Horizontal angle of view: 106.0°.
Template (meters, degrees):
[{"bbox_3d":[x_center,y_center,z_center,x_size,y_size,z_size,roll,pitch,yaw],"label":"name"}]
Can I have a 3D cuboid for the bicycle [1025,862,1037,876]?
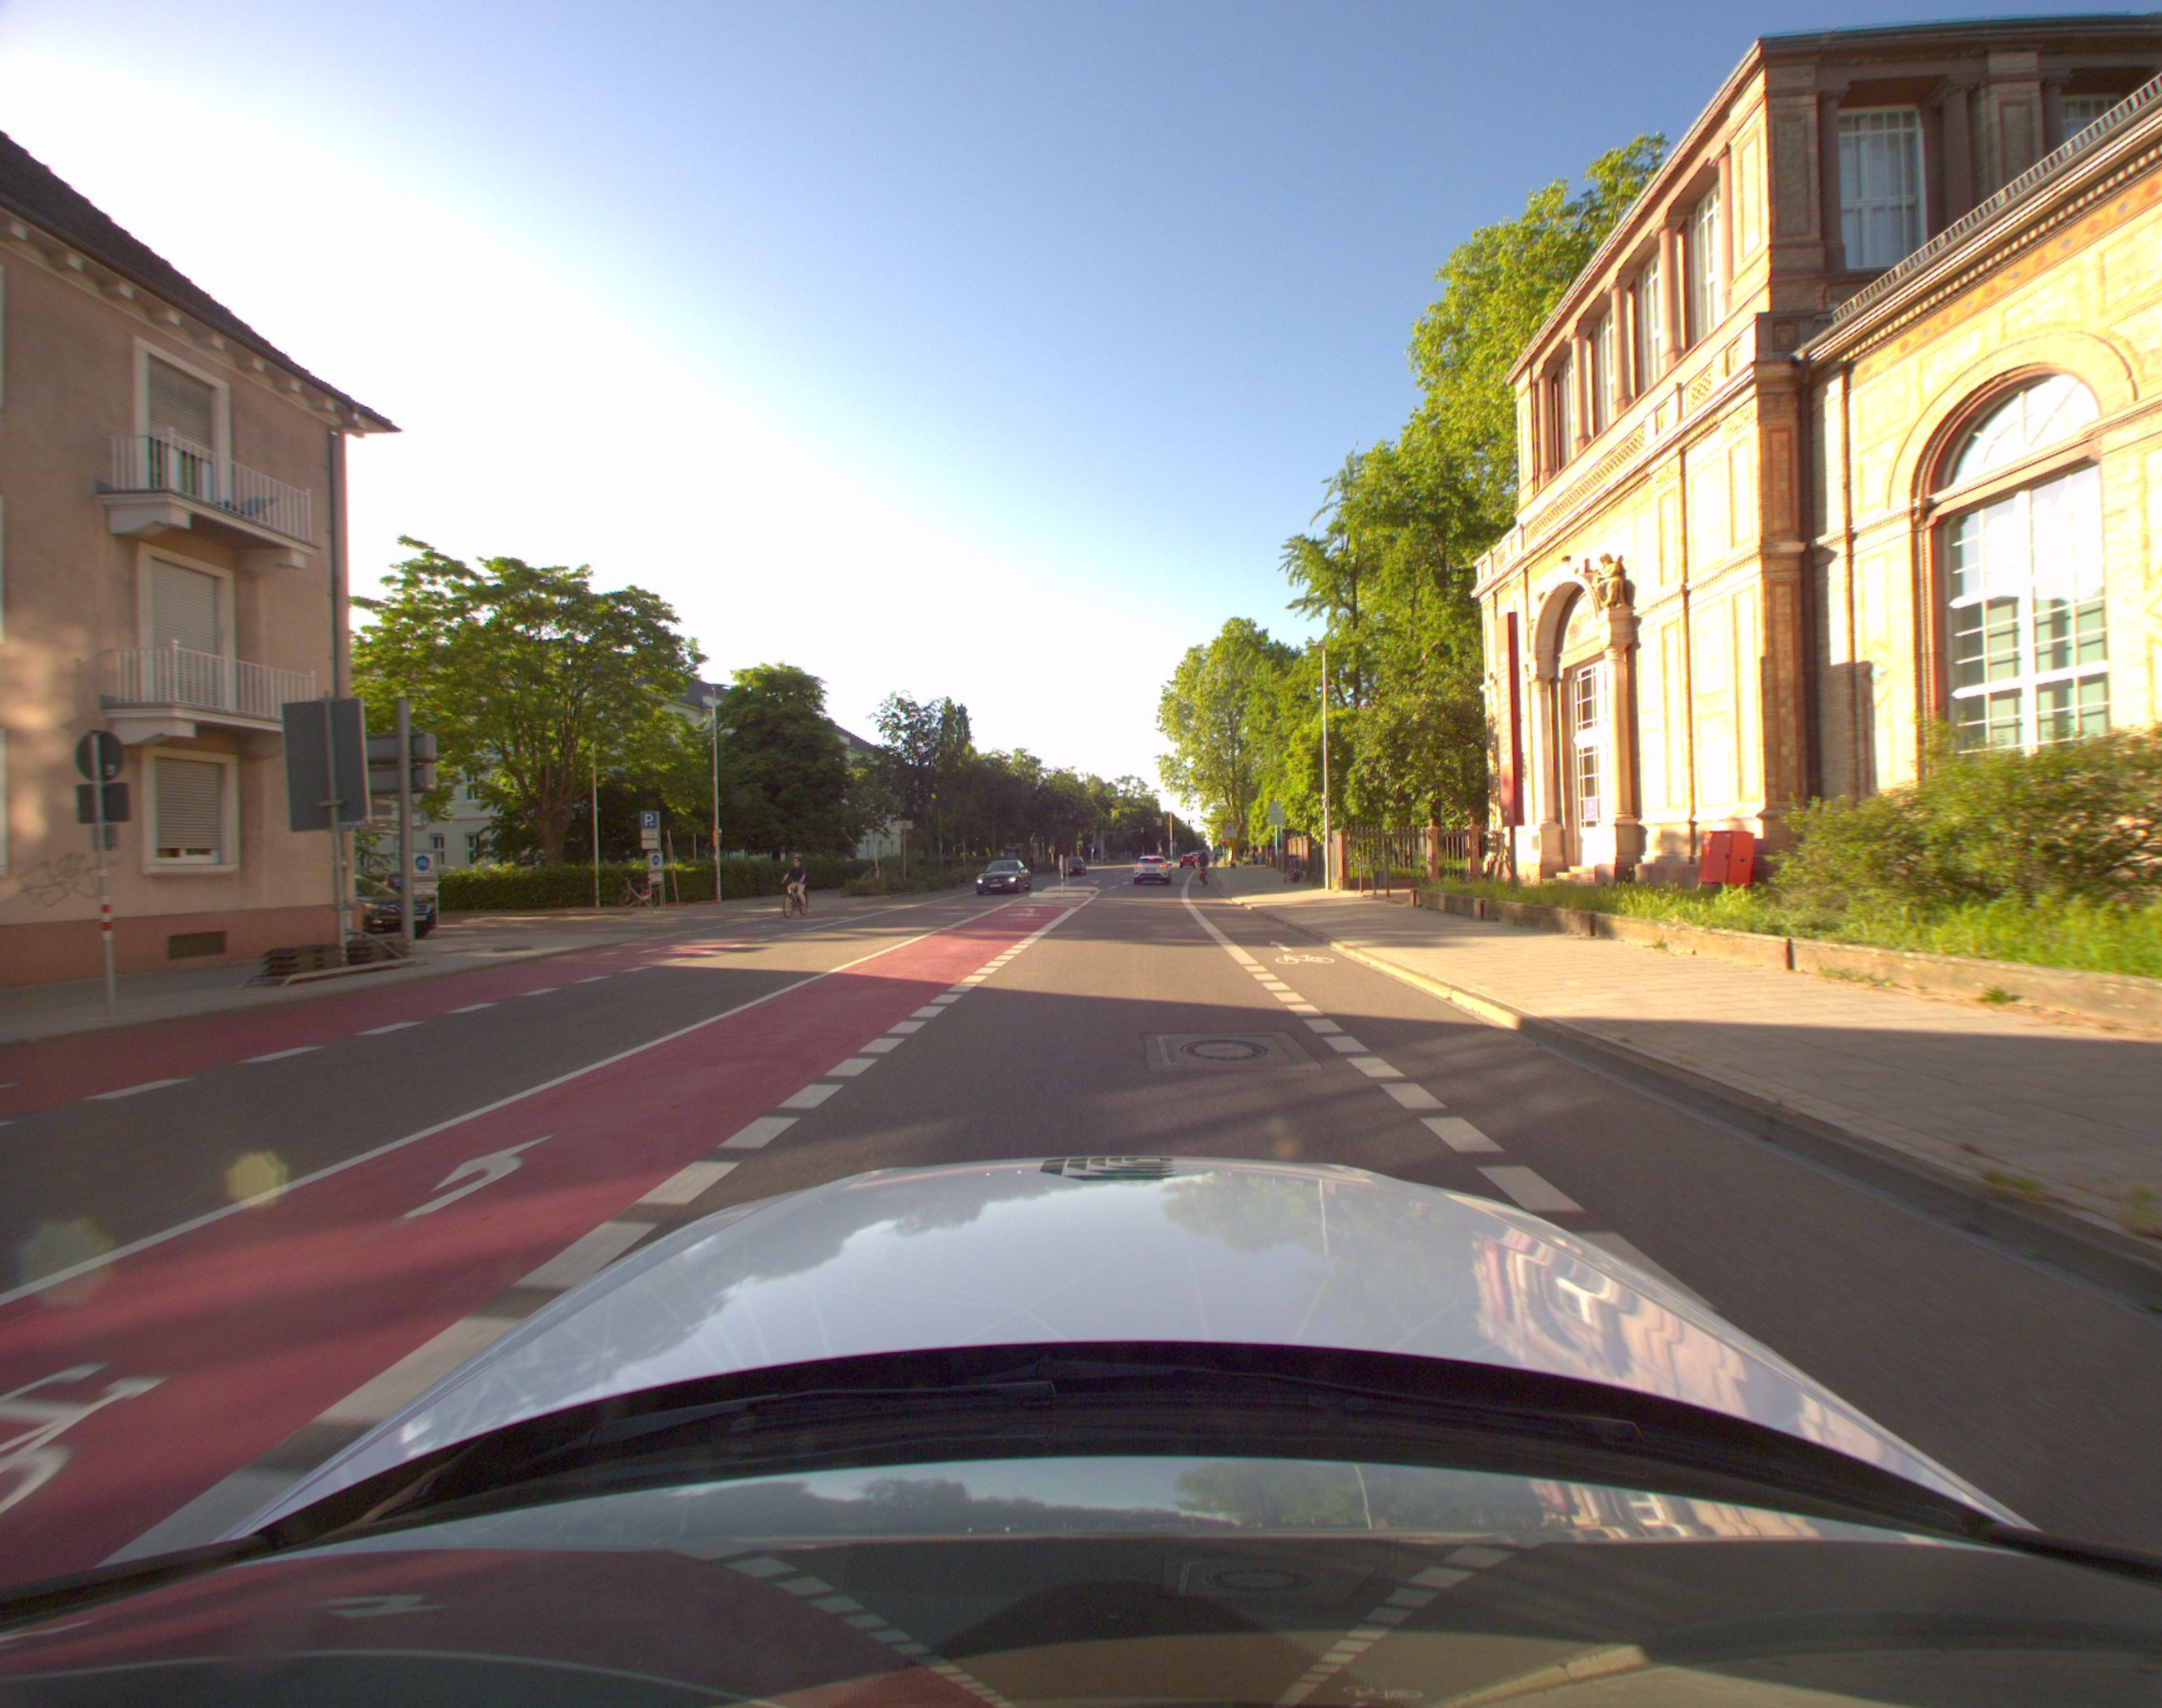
[{"bbox_3d":[-4.210,1.242,68.578,0.593,1.120,2.030,-5,-1,6],"label":"bicycle"}]

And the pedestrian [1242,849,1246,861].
[{"bbox_3d":[24.276,0.155,121.441,0.478,1.792,0.433,-5,2,15],"label":"pedestrian"}]

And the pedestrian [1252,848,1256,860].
[{"bbox_3d":[25.975,-0.011,122.107,0.478,1.792,0.433,-5,2,15],"label":"pedestrian"}]

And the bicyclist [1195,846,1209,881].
[{"bbox_3d":[5.854,0.450,39.296,0.632,1.614,1.287,-1,0,9],"label":"bicyclist"}]

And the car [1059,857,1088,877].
[{"bbox_3d":[-0.527,0.979,62.750,1.749,1.459,4.006,-2,0,6],"label":"car"}]

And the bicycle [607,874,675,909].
[{"bbox_3d":[-16.458,1.401,30.487,2.307,1.230,0.561,-2,0,7],"label":"bicycle"}]

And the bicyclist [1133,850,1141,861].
[{"bbox_3d":[9.566,0.239,138.535,1.085,1.754,1.101,-2,-1,11],"label":"bicyclist"}]

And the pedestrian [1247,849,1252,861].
[{"bbox_3d":[25.104,0.174,121.439,0.478,1.640,0.433,-5,2,15],"label":"pedestrian"}]

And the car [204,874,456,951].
[{"bbox_3d":[-18.806,1.433,20.540,4.554,1.678,2.063,-2,0,4],"label":"car"}]

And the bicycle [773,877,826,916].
[{"bbox_3d":[-8.057,1.195,23.407,0.648,0.995,2.111,-3,0,3],"label":"bicycle"}]

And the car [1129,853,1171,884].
[{"bbox_3d":[3.675,0.727,42.957,1.983,1.453,4.008,-2,0,7],"label":"car"}]

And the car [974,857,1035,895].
[{"bbox_3d":[-3.230,0.911,35.276,1.803,1.419,4.561,-2,0,5],"label":"car"}]

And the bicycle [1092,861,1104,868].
[{"bbox_3d":[2.752,1.632,130.008,1.752,0.990,0.514,-2,0,16],"label":"bicycle"}]

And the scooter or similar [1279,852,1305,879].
[{"bbox_3d":[10.002,0.552,38.646,0.547,1.243,1.553,-2,0,-8],"label":"scooter or similar"}]

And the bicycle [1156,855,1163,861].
[{"bbox_3d":[15.970,0.869,165.901,0.957,1.181,2.960,-2,0,11],"label":"bicycle"}]

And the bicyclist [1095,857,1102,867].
[{"bbox_3d":[2.743,1.258,130.013,0.915,1.509,0.508,-2,0,16],"label":"bicyclist"}]

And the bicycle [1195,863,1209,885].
[{"bbox_3d":[5.866,0.963,39.329,0.639,1.025,2.218,0,0,9],"label":"bicycle"}]

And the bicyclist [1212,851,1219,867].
[{"bbox_3d":[15.224,0.593,92.289,0.745,1.750,0.845,-1,0,9],"label":"bicyclist"}]

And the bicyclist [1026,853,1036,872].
[{"bbox_3d":[-4.237,0.682,68.651,0.626,1.522,0.726,-5,0,6],"label":"bicyclist"}]

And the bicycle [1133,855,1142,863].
[{"bbox_3d":[9.568,0.858,138.413,1.094,1.255,2.787,-2,0,11],"label":"bicycle"}]

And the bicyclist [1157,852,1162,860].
[{"bbox_3d":[15.964,0.406,165.969,0.949,1.705,1.236,-2,0,11],"label":"bicyclist"}]

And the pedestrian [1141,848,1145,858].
[{"bbox_3d":[13.942,-0.224,182.869,0.653,2.013,0.834,-2,-1,7],"label":"pedestrian"}]

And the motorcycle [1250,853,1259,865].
[{"bbox_3d":[17.939,0.525,84.132,0.658,1.167,2.333,-4,-1,9],"label":"motorcycle"}]

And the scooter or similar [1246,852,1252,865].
[{"bbox_3d":[18.741,0.481,90.881,0.563,1.382,1.860,-2,0,8],"label":"scooter or similar"}]

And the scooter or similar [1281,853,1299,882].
[{"bbox_3d":[9.169,0.598,35.785,0.296,1.240,1.158,-2,0,-7],"label":"scooter or similar"}]

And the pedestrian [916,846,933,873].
[{"bbox_3d":[-11.002,0.395,57.273,0.851,1.851,1.003,-2,-1,7],"label":"pedestrian"}]

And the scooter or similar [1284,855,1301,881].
[{"bbox_3d":[9.560,0.613,36.776,0.478,1.122,1.338,-2,0,5],"label":"scooter or similar"}]

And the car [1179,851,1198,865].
[{"bbox_3d":[12.054,0.448,90.963,1.918,1.533,4.010,-2,0,9],"label":"car"}]

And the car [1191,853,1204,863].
[{"bbox_3d":[18.328,0.629,127.891,1.726,1.546,4.011,-2,0,10],"label":"car"}]

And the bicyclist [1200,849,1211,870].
[{"bbox_3d":[9.217,0.386,60.307,0.743,1.537,0.972,-1,0,9],"label":"bicyclist"}]

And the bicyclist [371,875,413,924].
[{"bbox_3d":[-21.951,1.438,25.948,0.662,1.485,0.738,-3,0,-7],"label":"bicyclist"}]

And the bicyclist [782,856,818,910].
[{"bbox_3d":[-8.091,0.824,23.472,0.653,1.485,0.665,-5,0,3],"label":"bicyclist"}]

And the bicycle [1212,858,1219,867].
[{"bbox_3d":[15.226,0.966,92.332,0.749,1.026,1.874,-1,-1,9],"label":"bicycle"}]

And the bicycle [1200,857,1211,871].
[{"bbox_3d":[9.218,0.771,60.292,0.749,1.026,1.874,-1,-1,9],"label":"bicycle"}]

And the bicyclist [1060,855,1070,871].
[{"bbox_3d":[-1.465,0.802,73.549,0.642,1.418,0.972,-5,0,6],"label":"bicyclist"}]

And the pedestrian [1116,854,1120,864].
[{"bbox_3d":[7.305,1.047,162.741,0.647,1.888,0.665,-2,-1,11],"label":"pedestrian"}]
